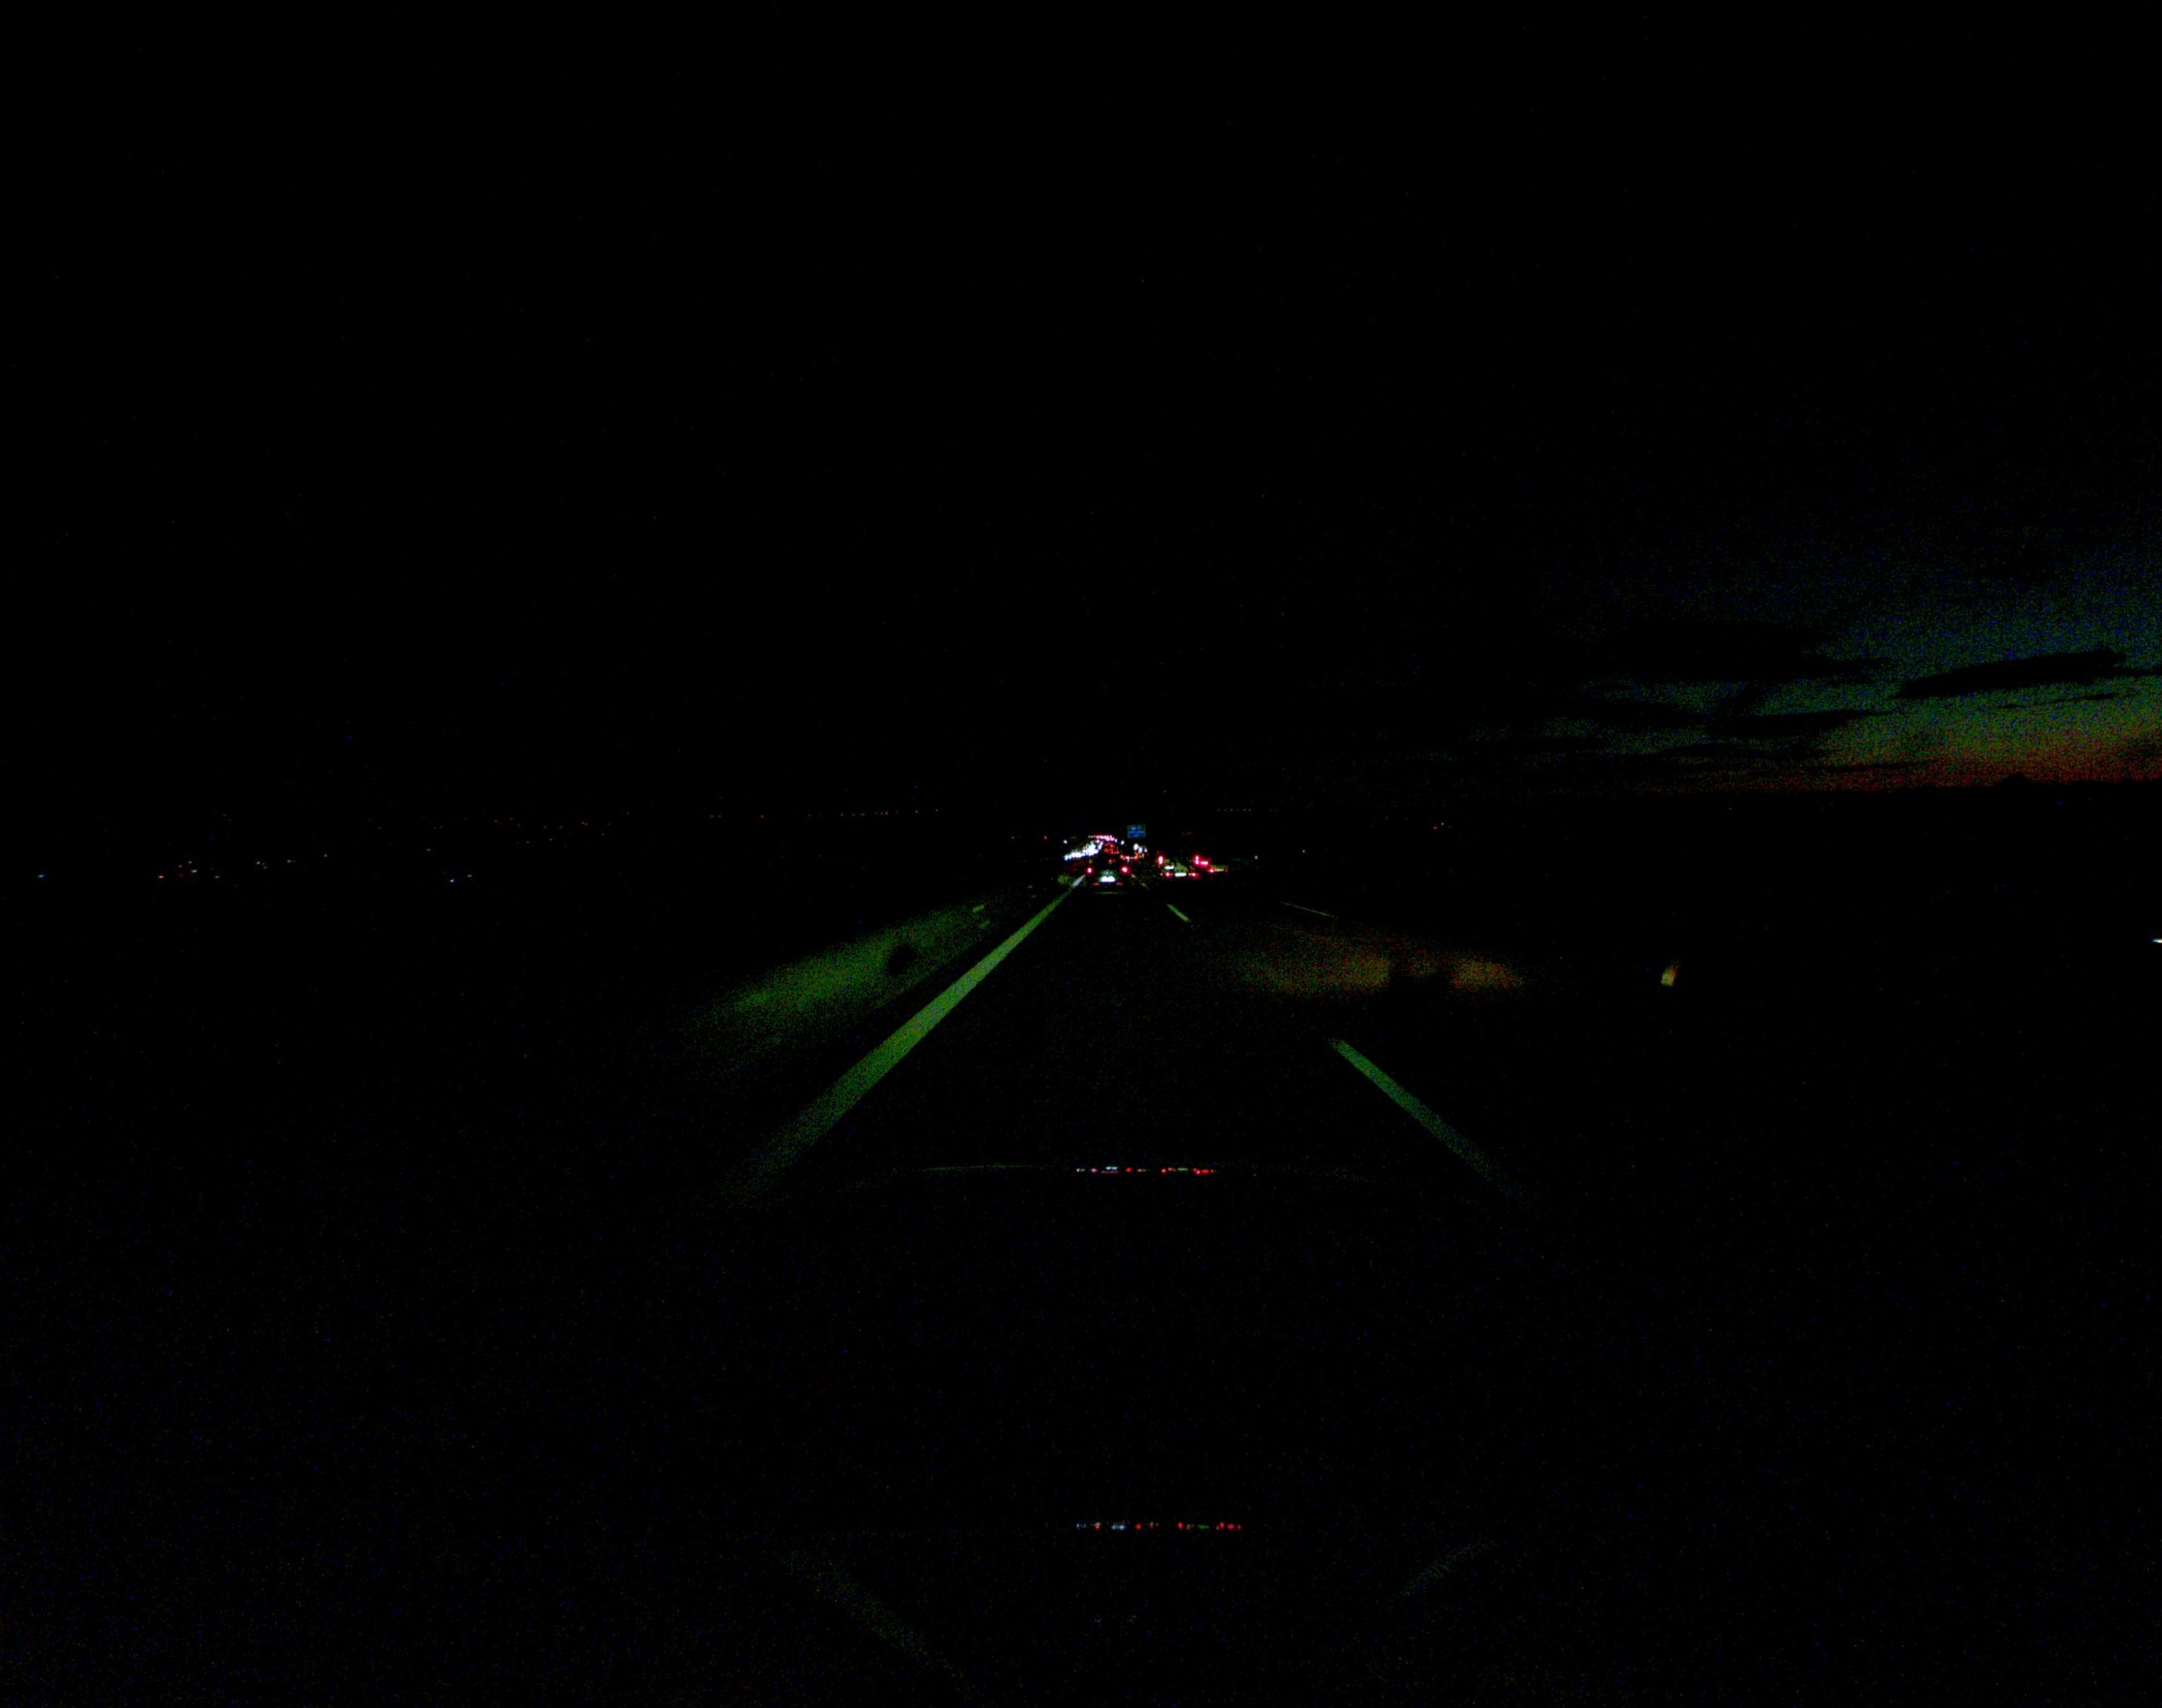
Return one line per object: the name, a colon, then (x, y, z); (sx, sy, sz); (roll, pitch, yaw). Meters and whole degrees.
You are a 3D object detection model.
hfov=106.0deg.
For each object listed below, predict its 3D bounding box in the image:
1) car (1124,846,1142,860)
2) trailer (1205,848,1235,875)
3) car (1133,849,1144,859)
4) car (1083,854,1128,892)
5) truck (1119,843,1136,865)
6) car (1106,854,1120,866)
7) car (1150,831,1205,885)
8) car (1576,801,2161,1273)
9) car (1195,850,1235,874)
car: (7.586, -0.113, 119.284); (2.342, 1.914, 4.725); (-2, 0, 2)
trailer: (9.143, 0.466, 53.808); (1.560, 1.693, 2.822); (-2, 0, 1)
car: (13.003, -0.096, 184.321); (2.342, 2.075, 4.725); (-2, 0, 2)
car: (1.063, 0.771, 34.657); (1.787, 1.469, 3.775); (-1, 1, 2)
truck: (8.998, -0.013, 157.230); (2.772, 3.955, 7.993); (-2, 0, 0)
car: (4.173, 0.776, 106.892); (1.738, 1.440, 4.370); (-2, 0, 2)
car: (4.982, 0.173, 42.764); (2.342, 2.535, 5.704); (-2, 0, 2)
car: (4.483, 0.592, 3.809); (1.640, 1.596, 4.511); (-2, 0, 1)
car: (9.395, 0.548, 57.466); (2.154, 1.563, 4.725); (-1, 0, 2)
